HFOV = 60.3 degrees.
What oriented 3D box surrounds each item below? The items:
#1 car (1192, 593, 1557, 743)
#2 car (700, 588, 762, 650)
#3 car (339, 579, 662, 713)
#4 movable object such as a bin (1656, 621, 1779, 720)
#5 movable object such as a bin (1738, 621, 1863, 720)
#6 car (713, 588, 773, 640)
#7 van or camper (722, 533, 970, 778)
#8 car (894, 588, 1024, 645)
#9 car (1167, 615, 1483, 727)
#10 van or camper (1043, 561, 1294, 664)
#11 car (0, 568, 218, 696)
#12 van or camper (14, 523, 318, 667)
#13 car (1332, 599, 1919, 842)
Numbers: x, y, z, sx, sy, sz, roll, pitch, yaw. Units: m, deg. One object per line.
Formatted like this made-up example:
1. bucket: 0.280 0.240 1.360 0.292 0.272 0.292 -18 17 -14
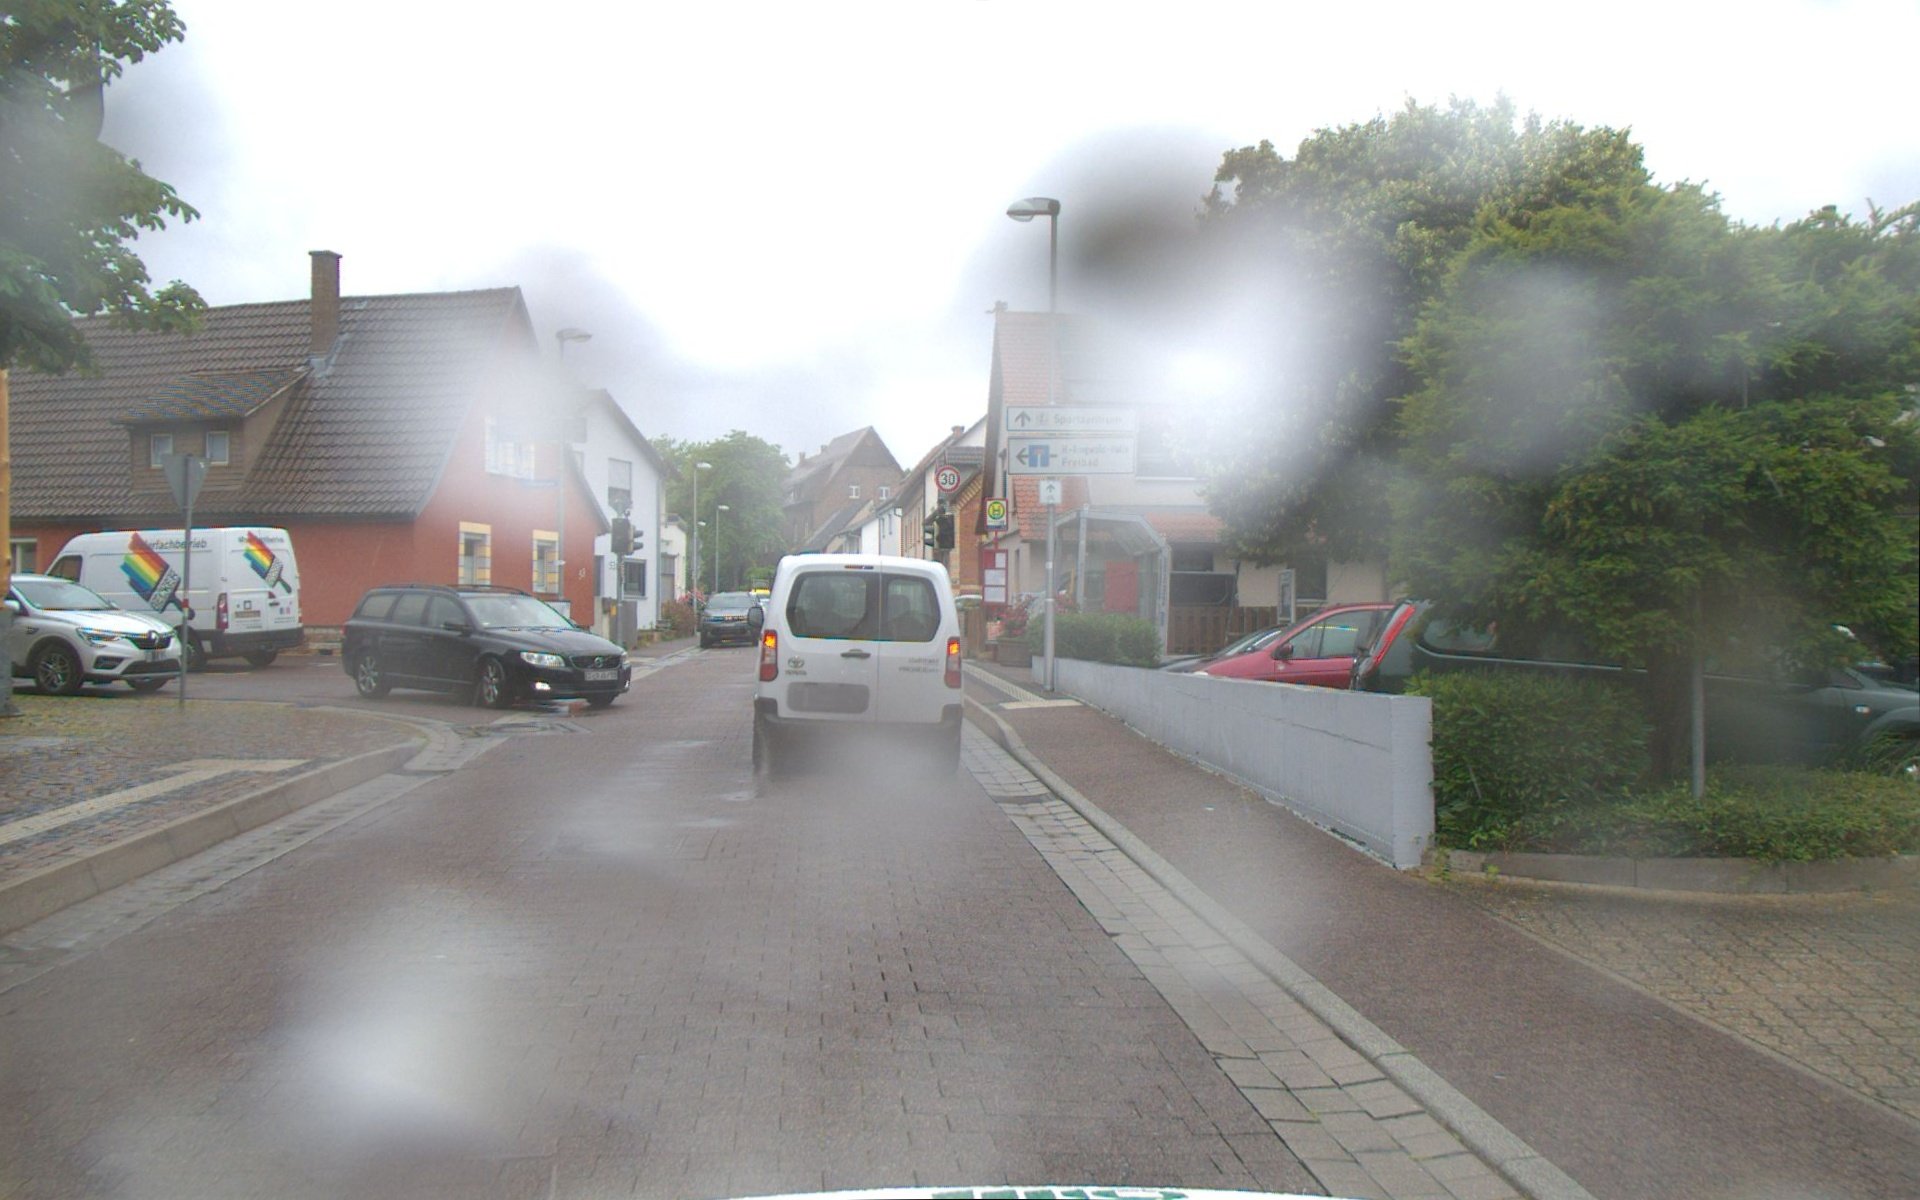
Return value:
1. car: 4.755 0.749 19.443 3.981 1.617 1.859 0 0 9
2. car: -7.016 0.550 51.026 1.777 1.810 4.012 0 1 -7
3. car: -6.004 0.554 21.428 4.230 1.503 1.842 2 -1 37
4. movable object such as a bin: 11.132 1.022 24.349 1.217 1.381 1.154 1 0 -4
5. movable object such as a bin: 12.386 1.023 24.412 1.217 1.381 1.154 1 0 -4
6. car: -7.484 0.491 57.328 1.714 1.665 4.415 -2 -1 -4
7. van or camper: -1.066 0.460 15.159 1.905 1.883 3.996 2 -1 -5
8. car: -0.074 0.523 53.980 1.857 1.617 4.559 1 2 -37
9. car: 4.757 0.910 21.969 3.869 1.402 1.752 0 0 3
10. van or camper: 4.420 0.272 35.394 4.974 1.956 1.872 2 0 -9
11. car: -12.649 0.382 22.571 4.352 1.577 1.883 2 -1 16
12. van or camper: -14.656 -0.103 30.553 5.036 2.478 2.212 0 1 21
13. car: 4.745 0.764 11.499 4.137 1.506 1.696 0 0 10
